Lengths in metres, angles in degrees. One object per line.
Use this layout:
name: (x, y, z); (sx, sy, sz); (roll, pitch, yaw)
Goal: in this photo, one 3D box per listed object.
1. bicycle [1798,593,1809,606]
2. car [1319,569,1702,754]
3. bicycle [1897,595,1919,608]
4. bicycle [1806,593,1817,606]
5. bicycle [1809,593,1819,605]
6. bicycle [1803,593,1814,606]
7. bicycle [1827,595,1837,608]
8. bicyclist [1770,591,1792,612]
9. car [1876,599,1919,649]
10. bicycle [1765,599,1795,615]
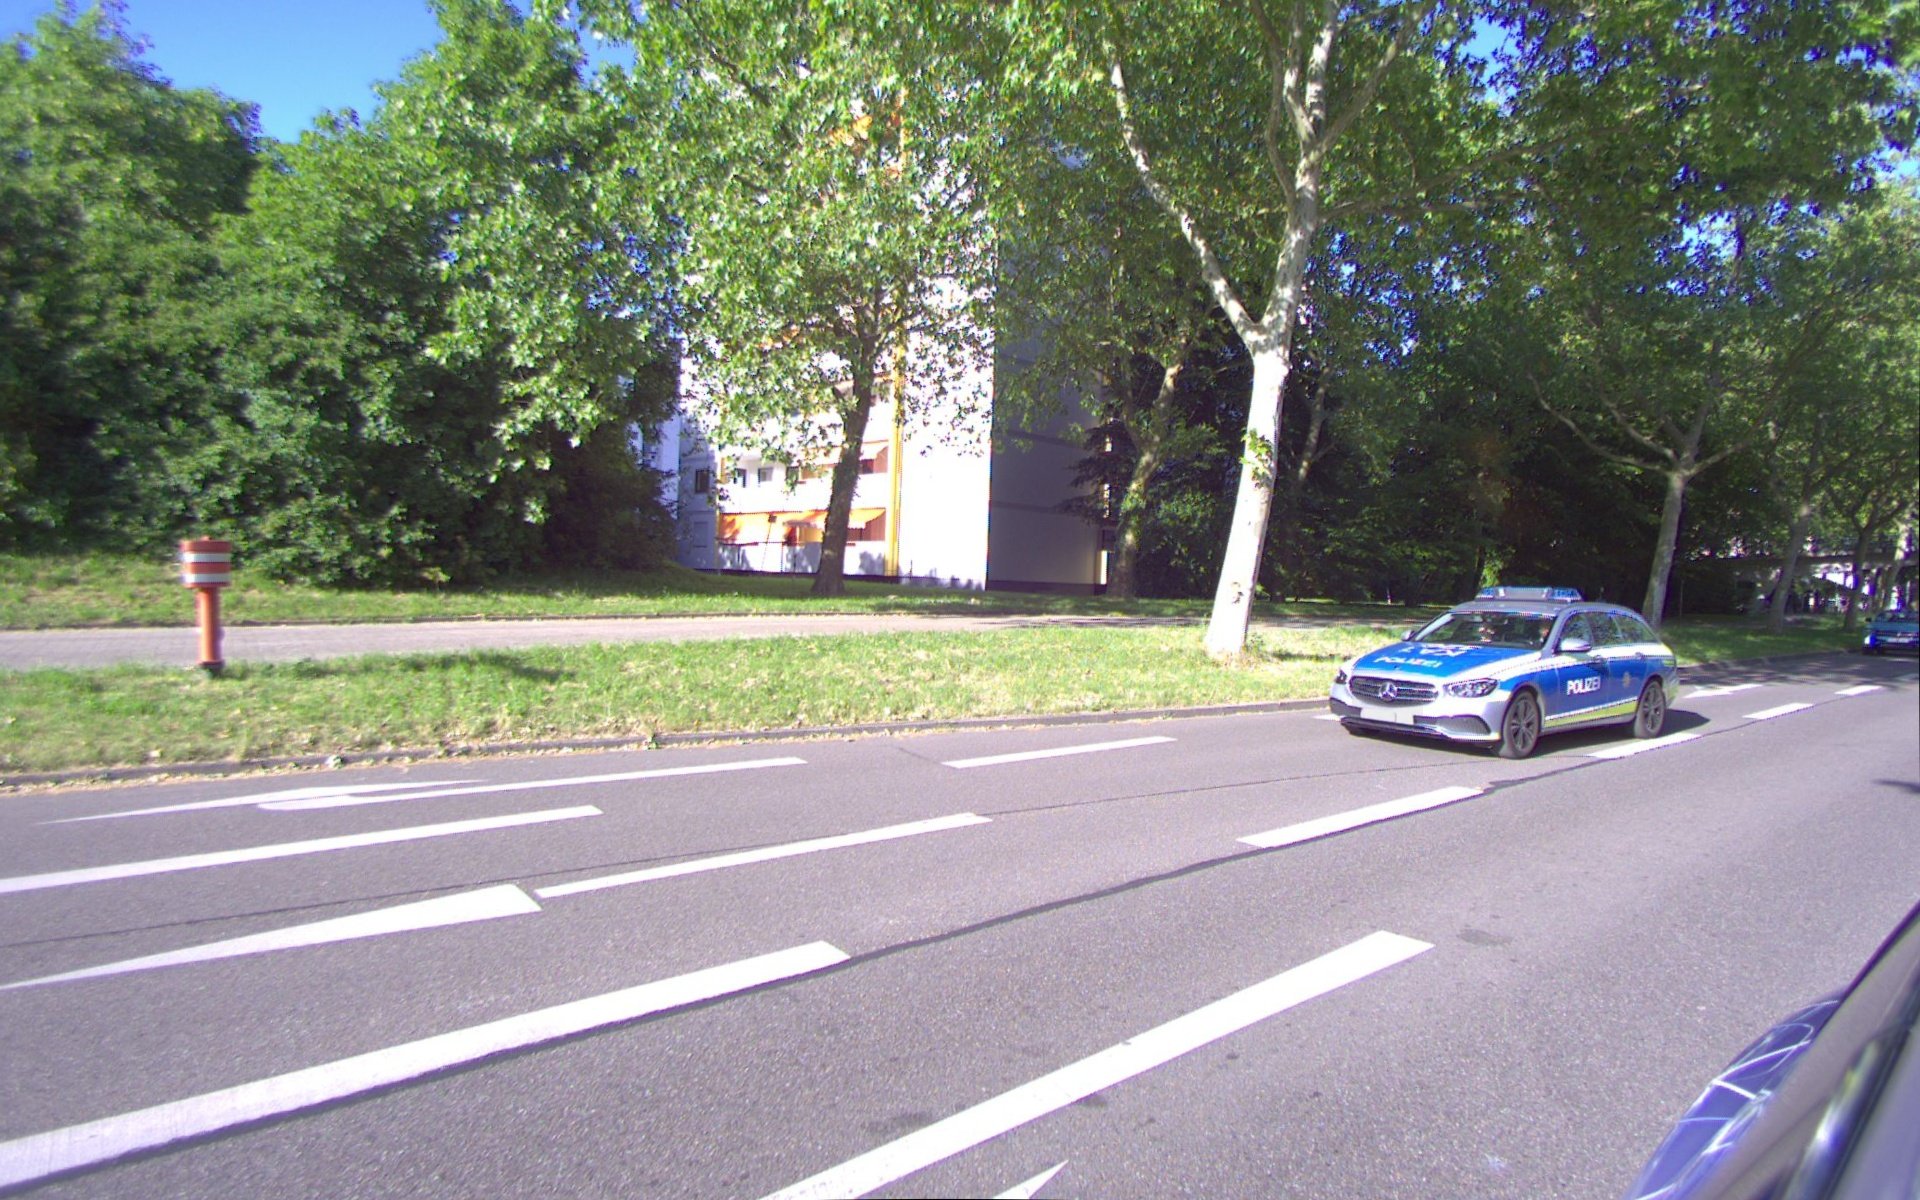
bicycle: (82.704, -0.047, 99.213); (1.775, 1.269, 0.576); (0, 1, -42)
car: (6.126, 0.557, 11.096); (4.415, 1.653, 1.900); (1, 0, -35)
bicycle: (94.180, 0.197, 100.112); (2.064, 1.172, 0.554); (4, 3, 40)
bicycle: (86.979, -0.069, 103.394); (1.775, 1.269, 0.576); (0, 1, -42)
bicycle: (90.040, -0.071, 106.640); (1.775, 1.269, 0.576); (0, 1, -42)
bicycle: (85.516, -0.062, 101.965); (1.775, 1.269, 0.576); (0, 1, -42)
bicycle: (89.120, 0.159, 103.432); (1.775, 1.269, 0.576); (0, 1, -42)
bicyclist: (67.461, 0.144, 83.163); (0.799, 1.652, 0.958); (3, 2, -4)
car: (30.586, 0.762, 32.087); (4.027, 1.502, 1.779); (1, 0, -40)
bicycle: (67.429, 0.595, 83.235); (0.799, 1.161, 1.839); (3, 2, -4)
